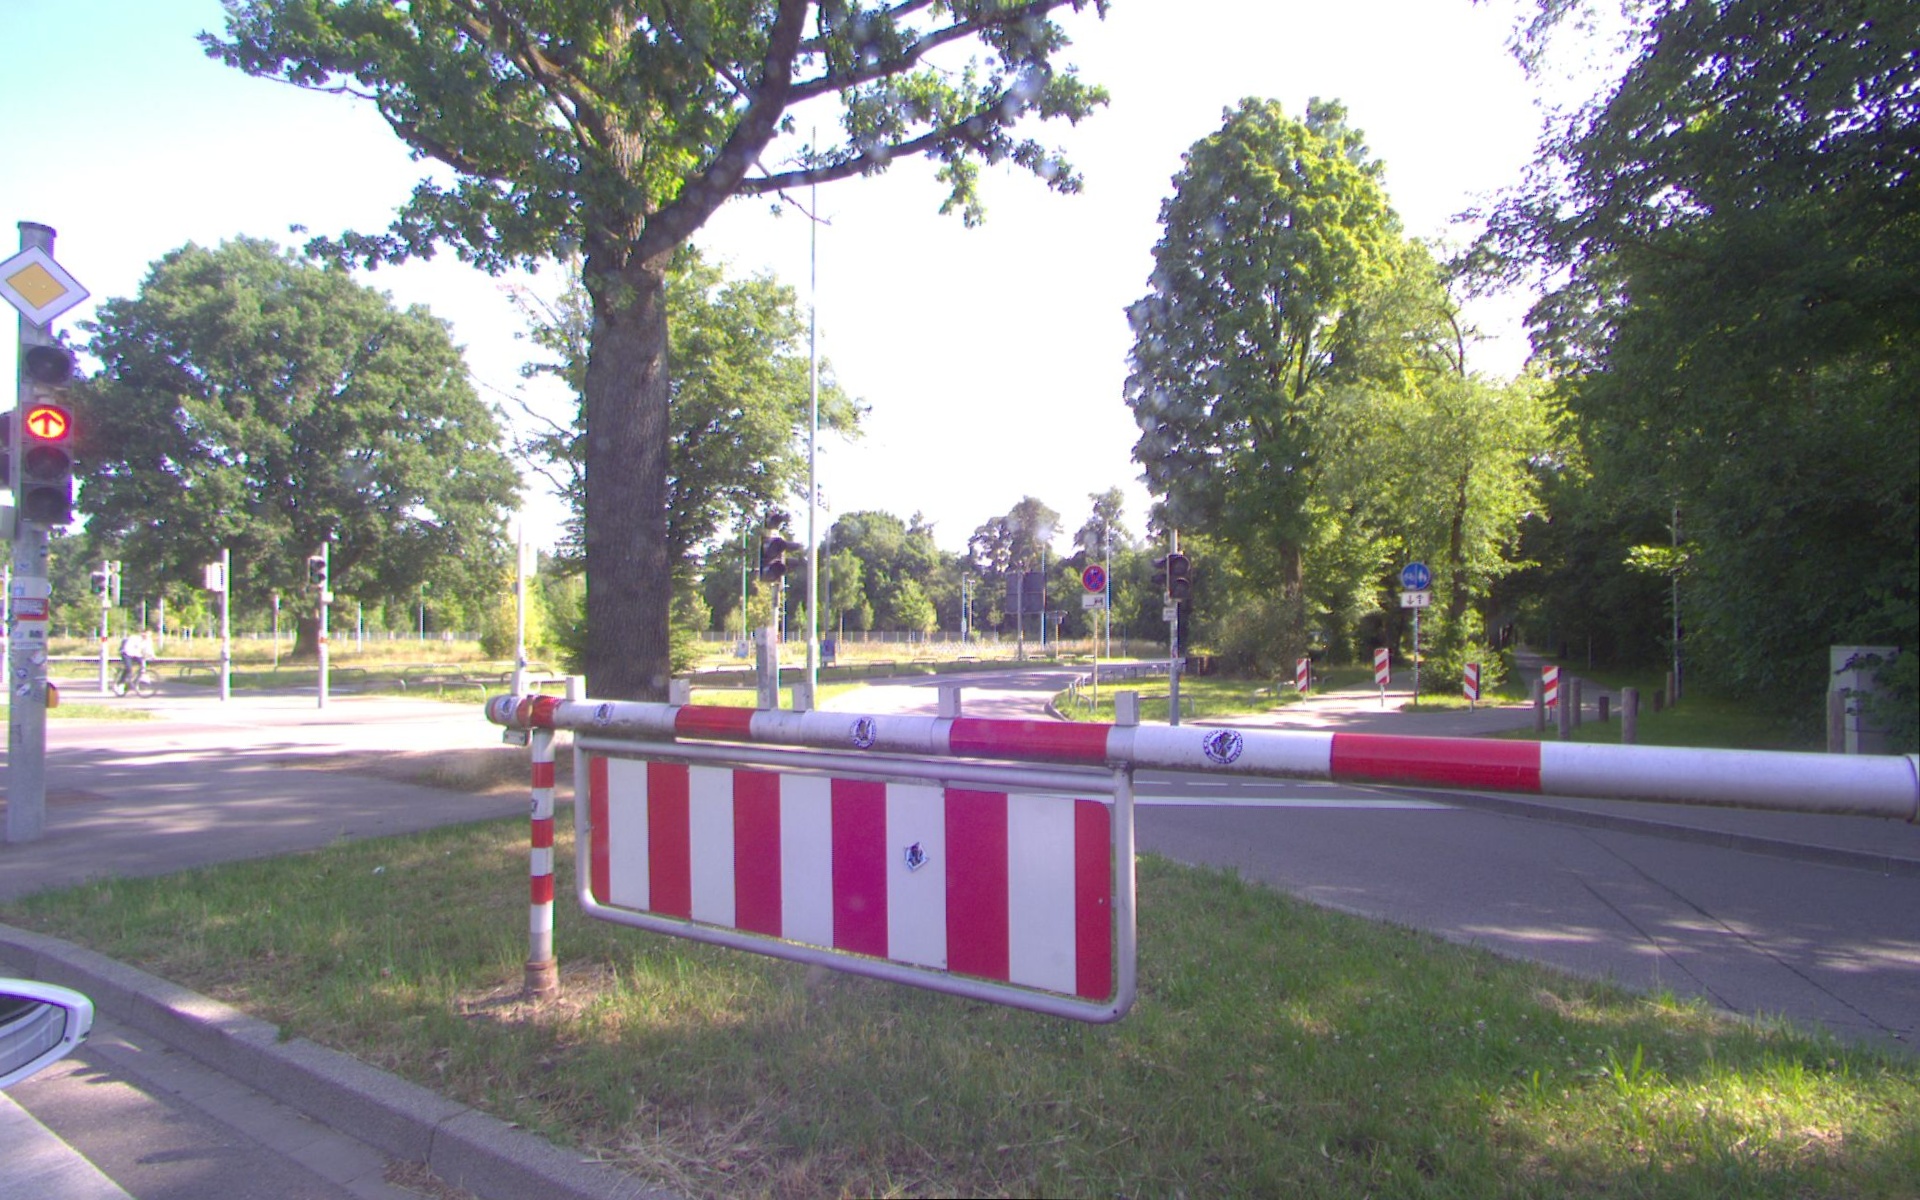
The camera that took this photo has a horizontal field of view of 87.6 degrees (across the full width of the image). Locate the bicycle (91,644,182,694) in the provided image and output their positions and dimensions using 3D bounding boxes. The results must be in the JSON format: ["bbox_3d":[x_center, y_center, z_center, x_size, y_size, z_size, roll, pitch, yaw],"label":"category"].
[{"bbox_3d":[-20.815,1.721,25.309,2.062,1.215,0.725,0,-1,17],"label":"bicycle"}]

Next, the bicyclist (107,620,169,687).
[{"bbox_3d":[-20.776,1.346,25.323,1.039,1.660,0.725,0,-1,16],"label":"bicyclist"}]
